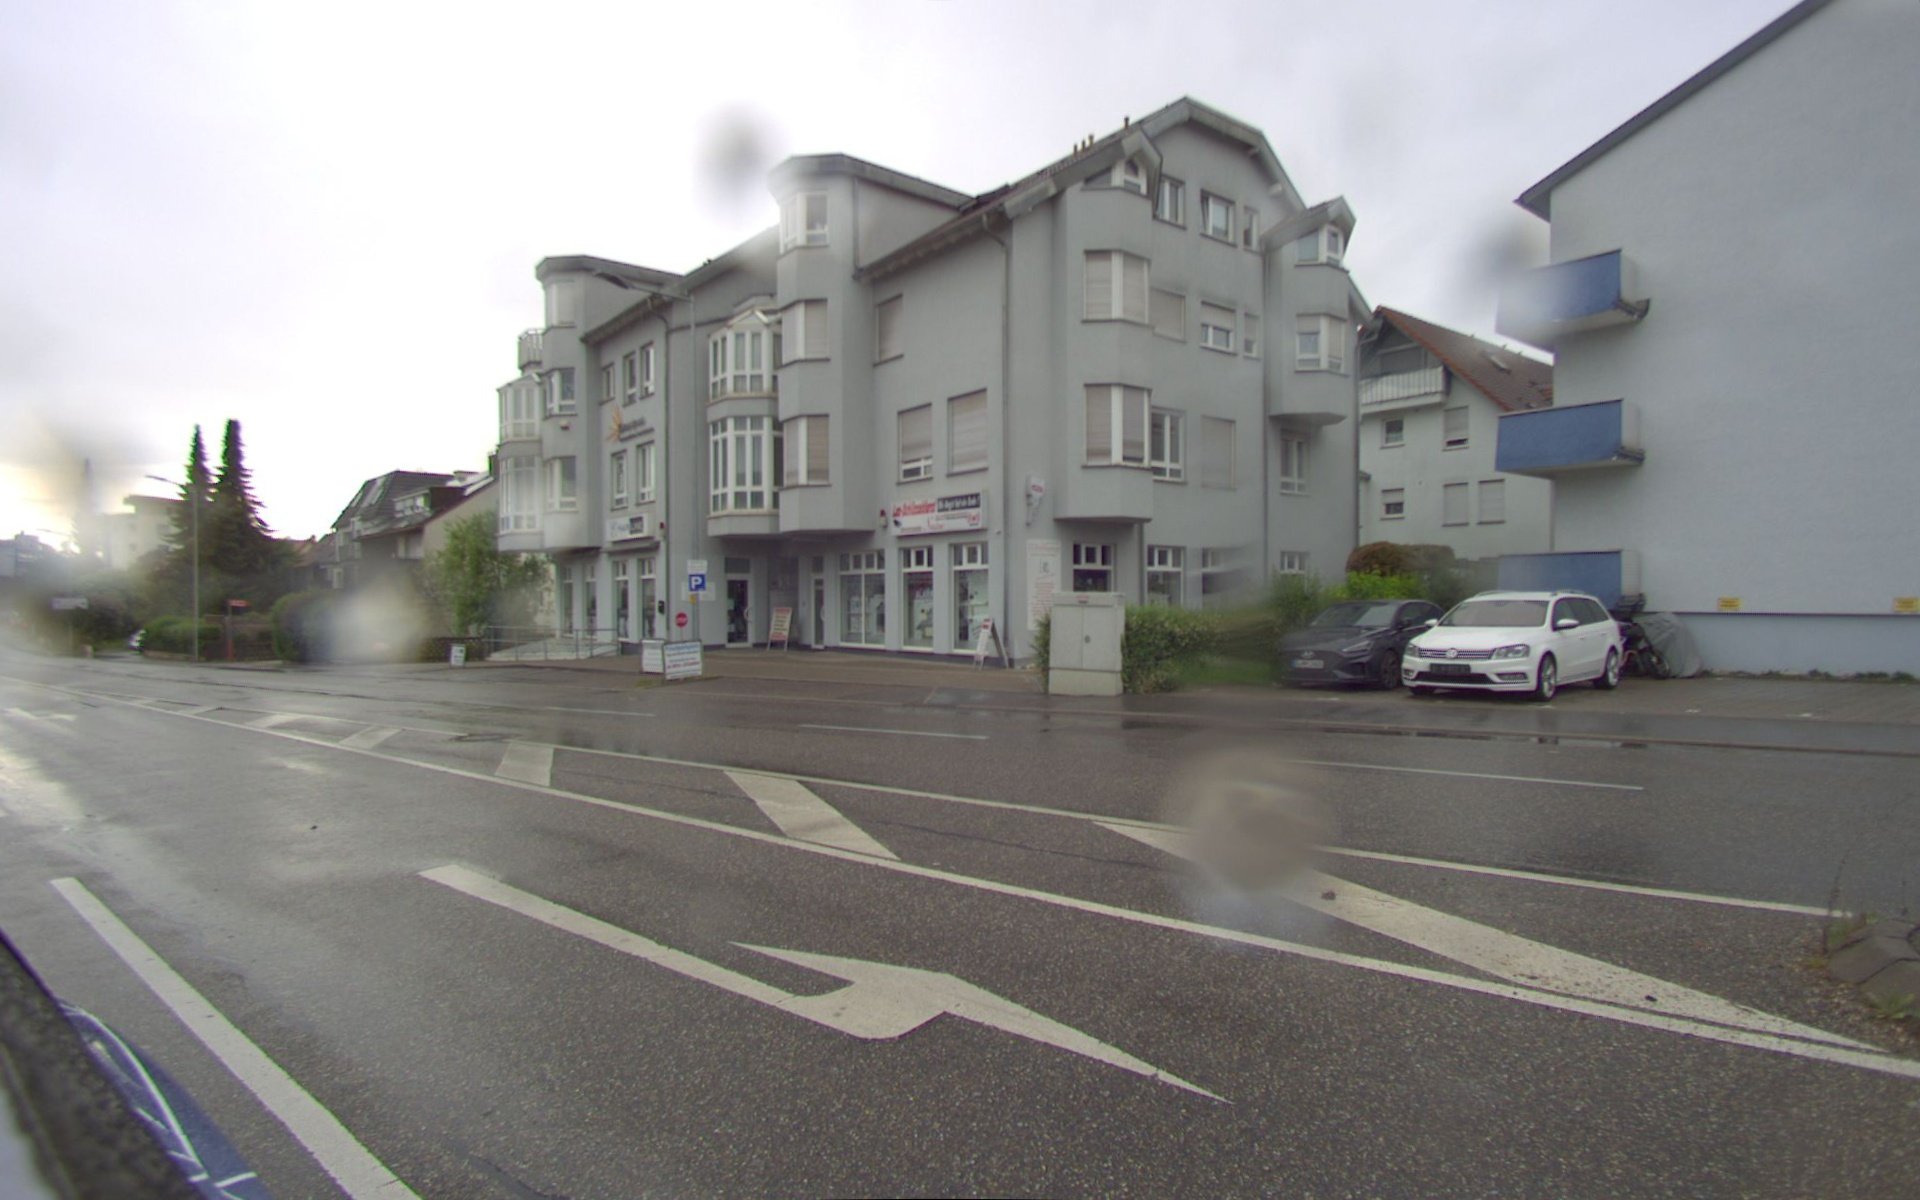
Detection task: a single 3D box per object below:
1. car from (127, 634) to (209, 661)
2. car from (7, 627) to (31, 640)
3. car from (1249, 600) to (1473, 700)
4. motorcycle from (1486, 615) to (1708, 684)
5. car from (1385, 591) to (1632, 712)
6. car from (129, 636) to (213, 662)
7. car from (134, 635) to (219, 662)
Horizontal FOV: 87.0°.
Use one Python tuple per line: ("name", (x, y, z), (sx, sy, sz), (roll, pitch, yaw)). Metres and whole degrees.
("car", (-52.198, 3.106, 66.723), (4.058, 1.557, 2.002), (-1, -1, -44))
("car", (-123.861, 4.422, 133.293), (1.968, 1.628, 4.008), (0, -2, -38))
("car", (6.622, 0.747, 16.527), (3.940, 1.421, 1.906), (0, -2, -44))
("motorcycle", (10.915, 0.864, 17.531), (3.112, 1.108, 0.869), (-2, -1, 24))
("car", (8.005, 0.663, 14.613), (4.169, 1.485, 1.906), (0, -2, -44))
("car", (-50.395, 3.094, 64.652), (4.097, 1.453, 1.892), (-1, -1, -42))
("car", (-48.655, 3.008, 62.867), (3.979, 1.453, 1.814), (-1, -1, -44))
